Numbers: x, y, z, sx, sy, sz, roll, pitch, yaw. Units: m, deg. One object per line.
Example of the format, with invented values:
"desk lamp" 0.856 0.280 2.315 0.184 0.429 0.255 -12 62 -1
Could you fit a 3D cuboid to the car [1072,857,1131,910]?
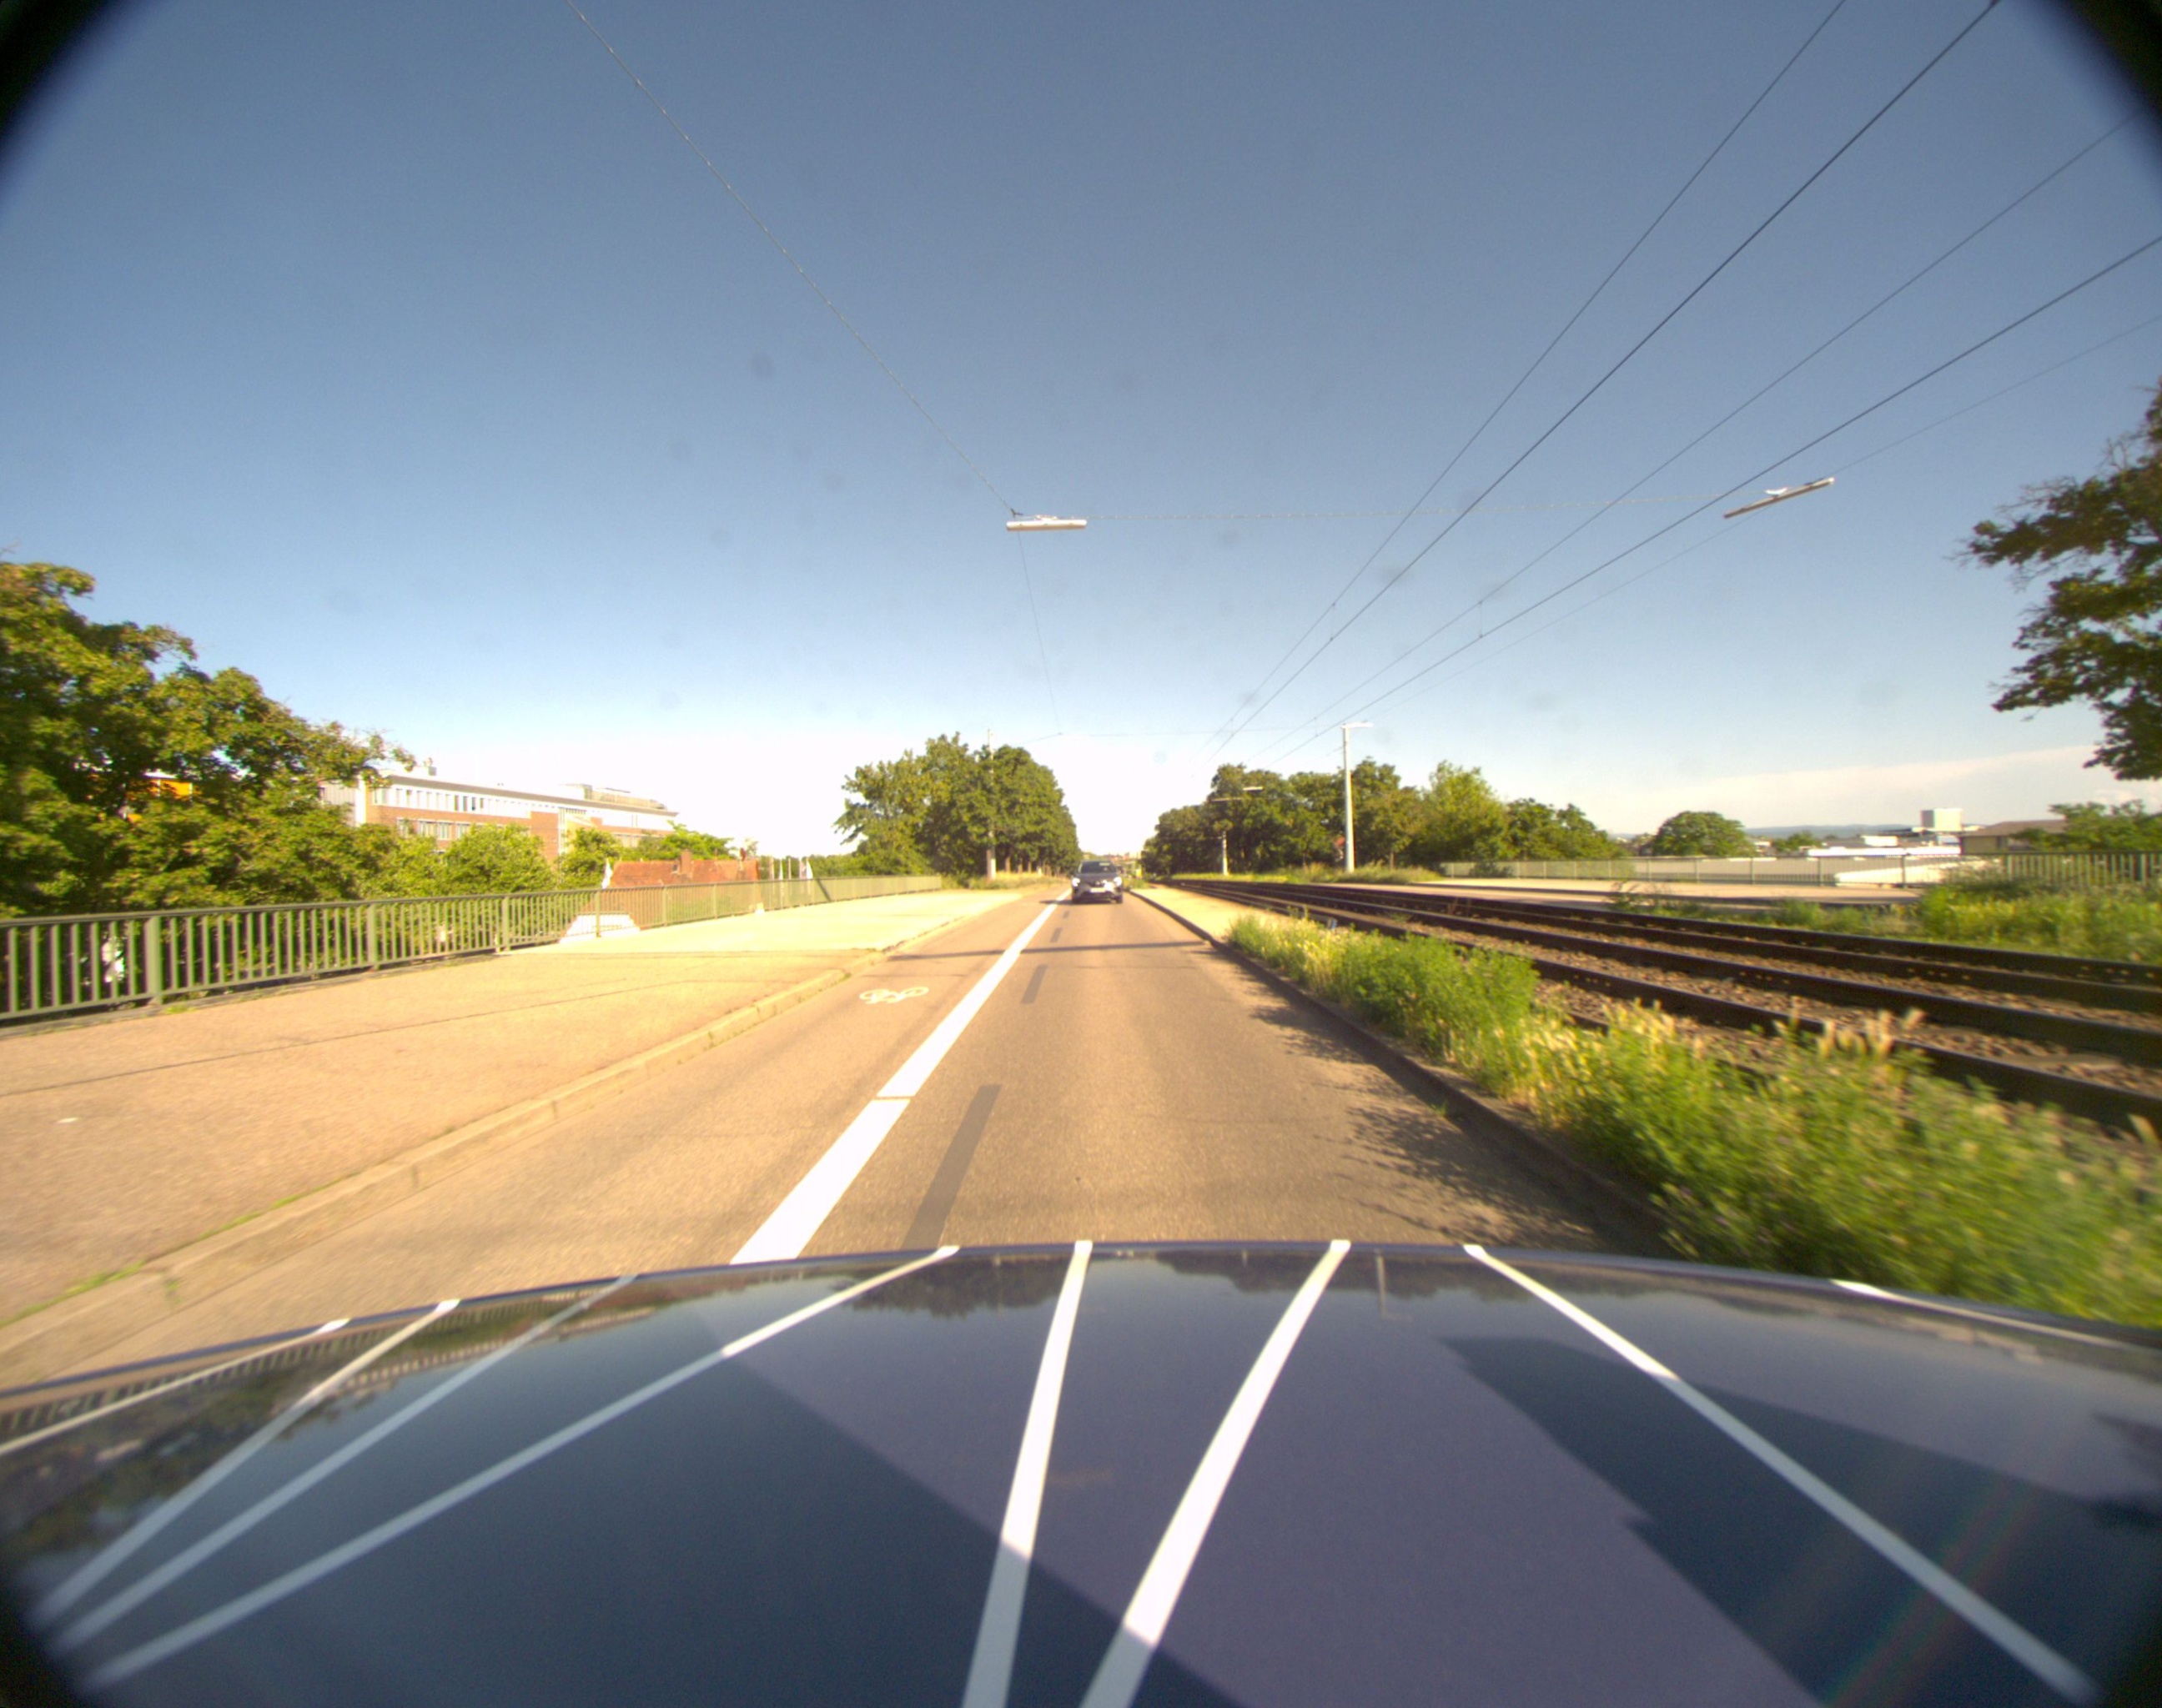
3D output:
"car" 0.707 0.987 26.632 1.814 1.625 4.711 -2 -1 1
